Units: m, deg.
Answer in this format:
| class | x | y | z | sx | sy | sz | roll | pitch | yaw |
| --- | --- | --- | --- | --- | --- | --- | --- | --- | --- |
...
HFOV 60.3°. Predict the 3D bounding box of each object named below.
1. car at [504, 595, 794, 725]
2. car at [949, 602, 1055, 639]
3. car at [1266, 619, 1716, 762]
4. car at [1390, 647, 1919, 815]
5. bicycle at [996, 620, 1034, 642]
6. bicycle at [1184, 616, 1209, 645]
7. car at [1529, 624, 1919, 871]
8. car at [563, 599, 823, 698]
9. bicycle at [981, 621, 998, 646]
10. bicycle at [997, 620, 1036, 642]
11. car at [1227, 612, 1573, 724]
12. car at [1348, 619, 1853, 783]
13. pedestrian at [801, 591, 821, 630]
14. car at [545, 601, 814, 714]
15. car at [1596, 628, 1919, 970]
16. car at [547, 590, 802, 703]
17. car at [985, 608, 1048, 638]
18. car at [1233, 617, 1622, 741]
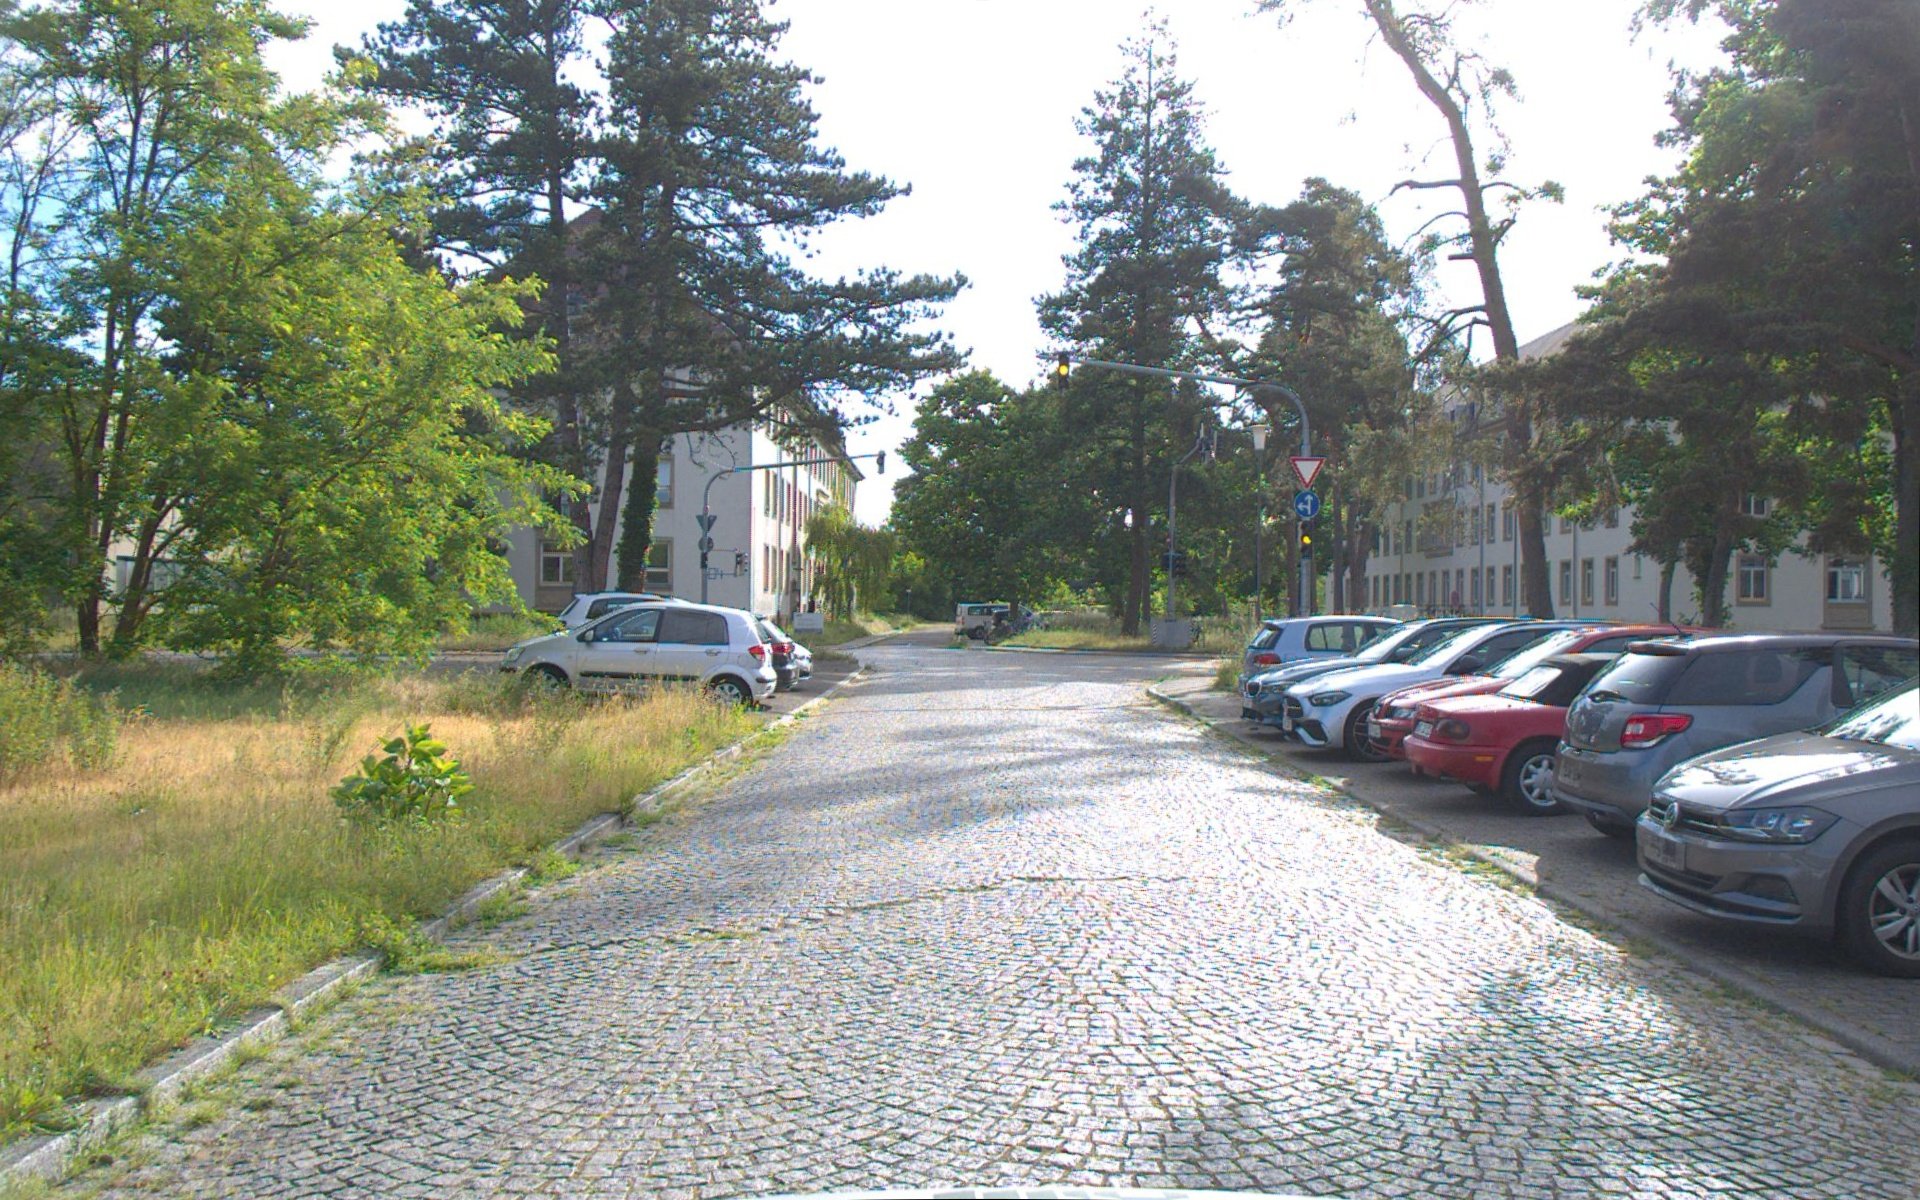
| class | x | y | z | sx | sy | sz | roll | pitch | yaw |
| --- | --- | --- | --- | --- | --- | --- | --- | --- | --- |
| car | -4.213 | 0.808 | 22.874 | 3.609 | 1.499 | 1.849 | 4 | -1 | -2 |
| car | 2.309 | 1.141 | 90.801 | 5.407 | 1.949 | 2.246 | 1 | -1 | -14 |
| car | 5.783 | 0.969 | 18.390 | 4.414 | 1.499 | 1.849 | 0 | -1 | -1 |
| car | 5.728 | 1.044 | 13.741 | 3.870 | 1.283 | 1.726 | 0 | -1 | 0 |
| bicycle | 2.573 | 1.444 | 77.383 | 1.756 | 1.016 | 0.644 | 0 | 0 | -1 |
| bicycle | 8.660 | 1.126 | 60.713 | 0.551 | 1.016 | 1.750 | 0 | 0 | -4 |
| car | 6.061 | 0.926 | 11.105 | 3.870 | 1.521 | 1.772 | 0 | -1 | 0 |
| car | -4.877 | 0.880 | 30.763 | 4.496 | 1.481 | 1.902 | 4 | 1 | -3 |
| bicycle | 1.267 | 1.449 | 71.268 | 0.713 | 1.016 | 1.799 | 0 | 0 | 0 |
| bicycle | 2.609 | 1.422 | 75.883 | 1.756 | 1.016 | 0.644 | 0 | 0 | -1 |
| car | 6.237 | 0.952 | 23.796 | 4.452 | 1.532 | 1.932 | 0 | -1 | -2 |
| car | 6.114 | 0.945 | 16.121 | 4.252 | 1.499 | 1.739 | 0 | -1 | -1 |
| pedestrian | -7.855 | 0.565 | 87.189 | 0.965 | 1.998 | 0.932 | 1 | -1 | -1 |
| car | -4.251 | 0.874 | 25.528 | 3.751 | 1.454 | 1.858 | 4 | -1 | -1 |
| car | 5.432 | 0.887 | 8.180 | 3.870 | 1.493 | 1.830 | 0 | -1 | 0 |
| car | -4.787 | 0.782 | 28.222 | 4.041 | 1.627 | 1.857 | 4 | -1 | -5 |
| car | 2.964 | 1.222 | 87.236 | 2.979 | 1.491 | 1.714 | 1 | -2 | -13 |
| car | 5.892 | 0.972 | 21.169 | 4.418 | 1.499 | 1.893 | 0 | -1 | -4 |
